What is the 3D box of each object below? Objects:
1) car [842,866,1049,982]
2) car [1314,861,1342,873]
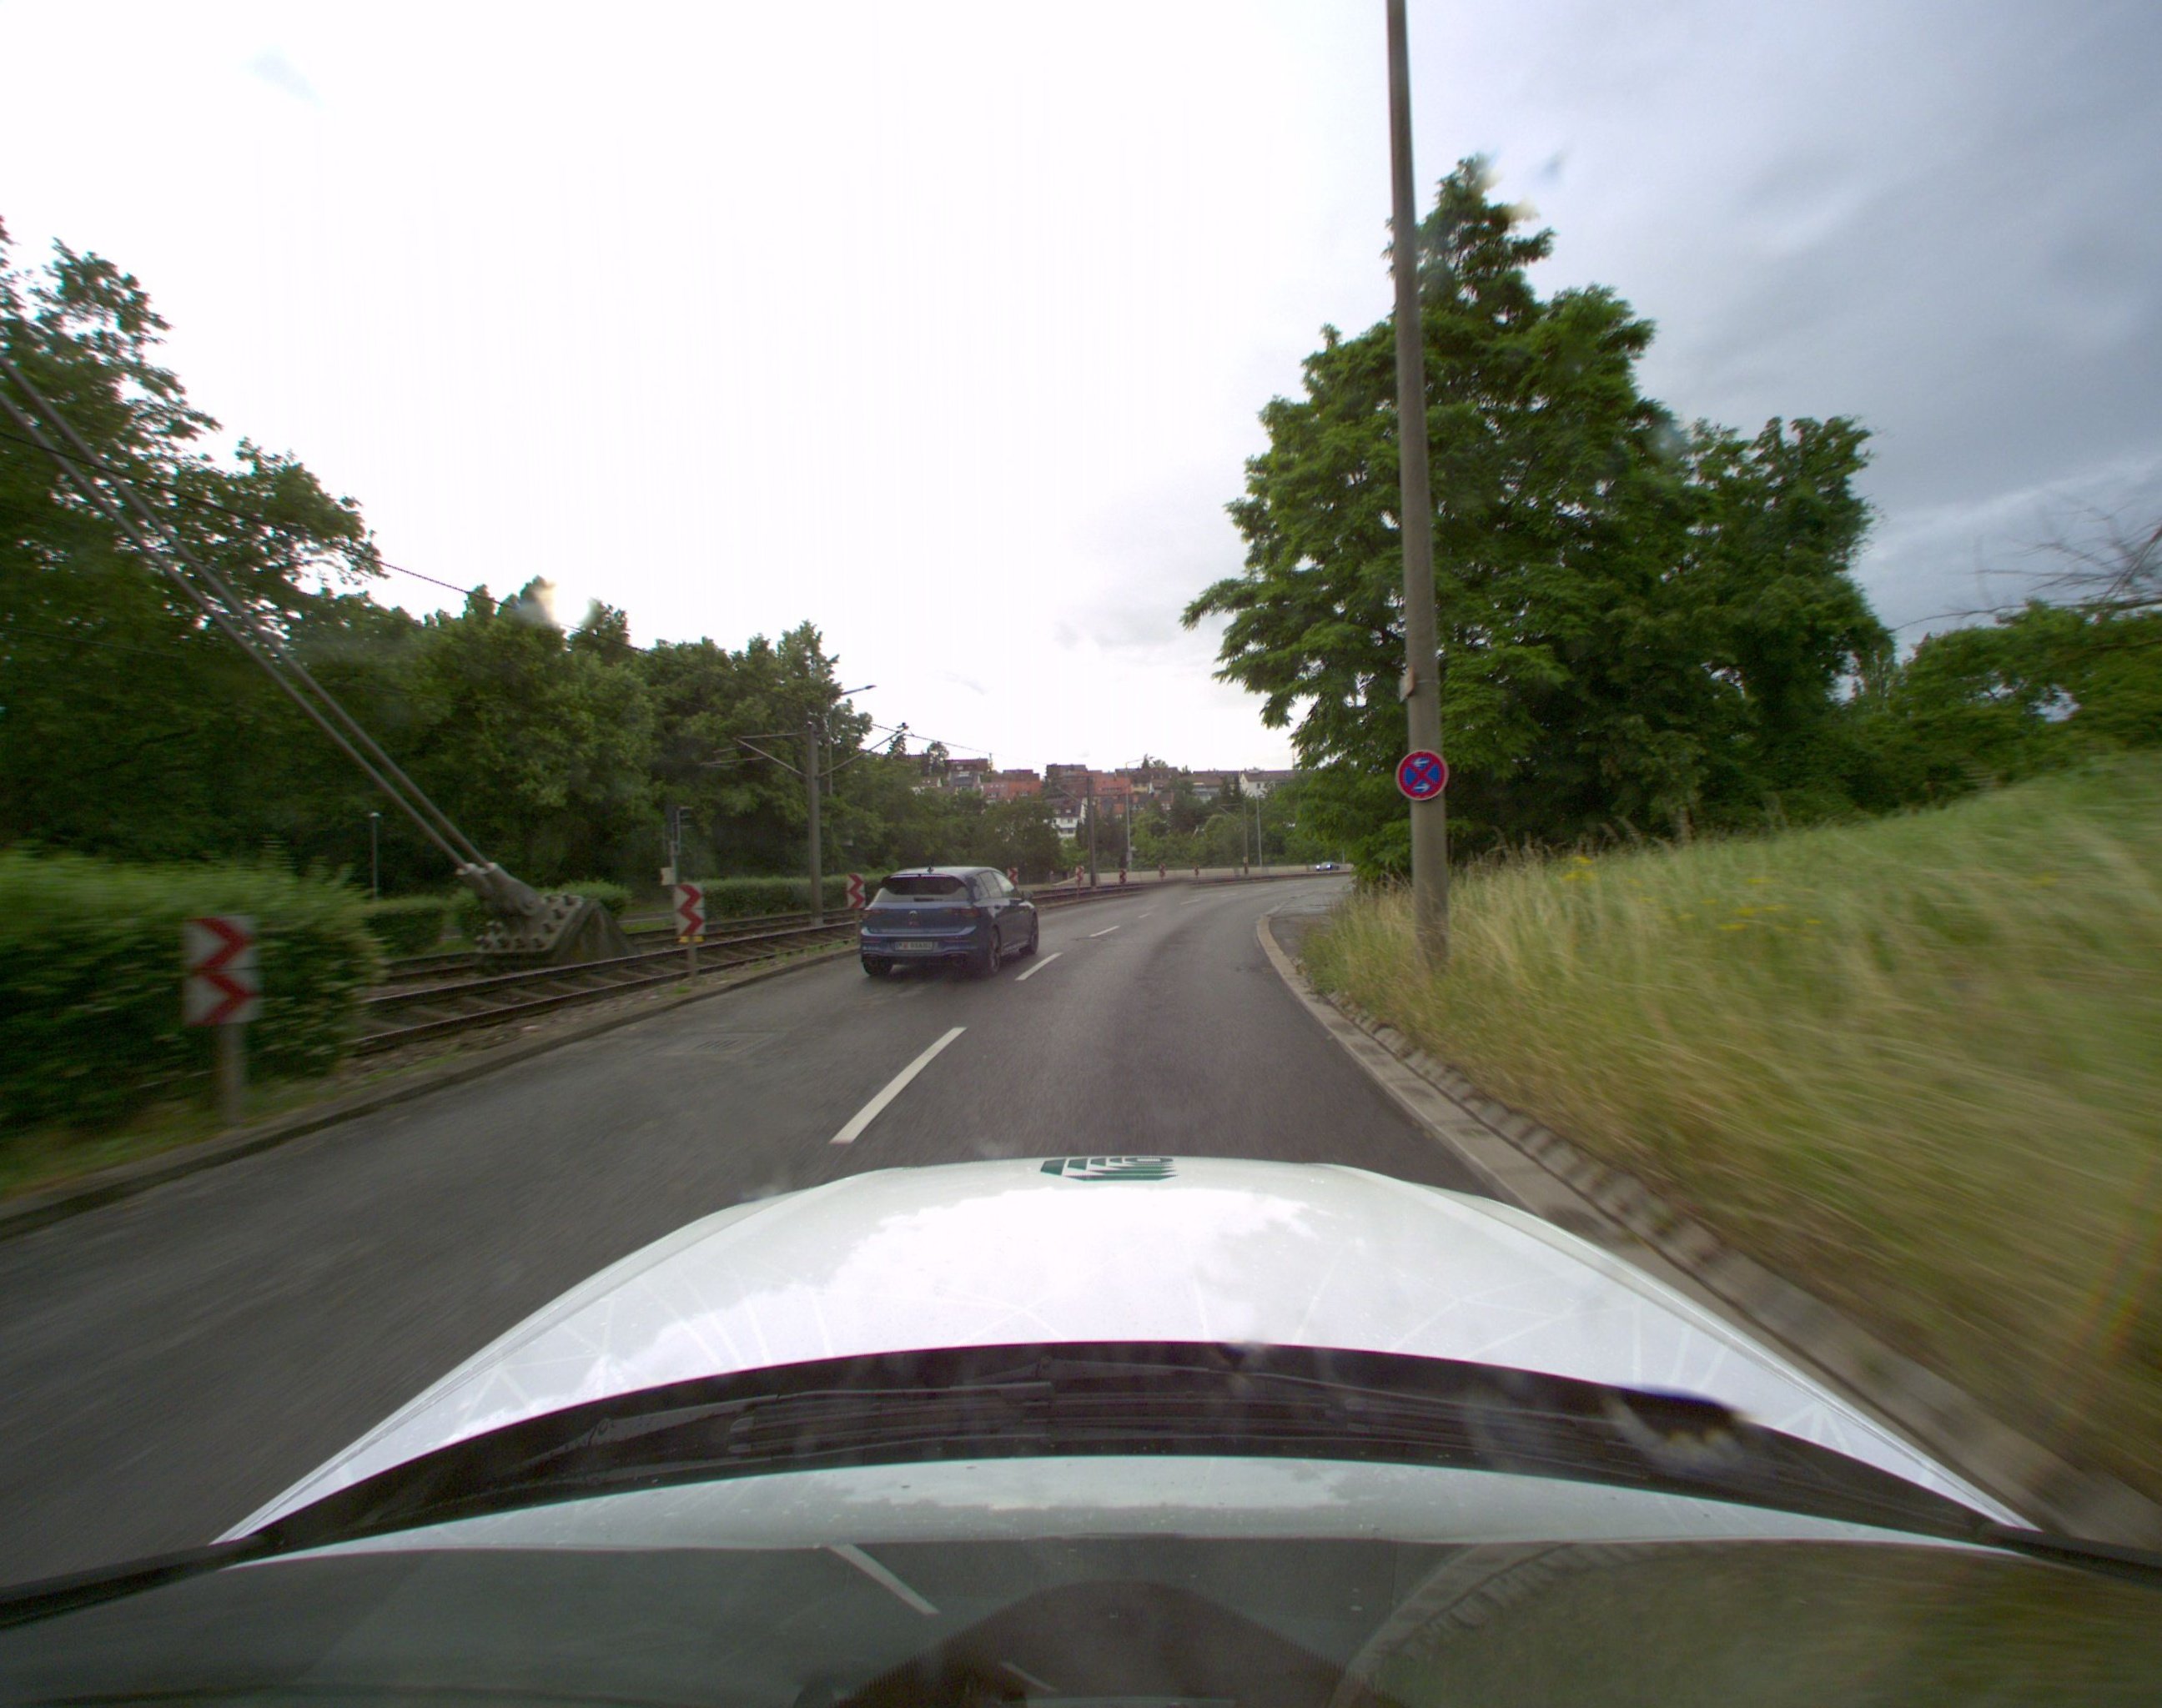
[{"bbox_3d":[-1.765,0.893,12.132,1.798,1.378,4.356,-1,-1,8],"label":"car"},{"bbox_3d":[31.208,1.592,102.834,1.974,1.366,4.218,-2,-1,36],"label":"car"}]
